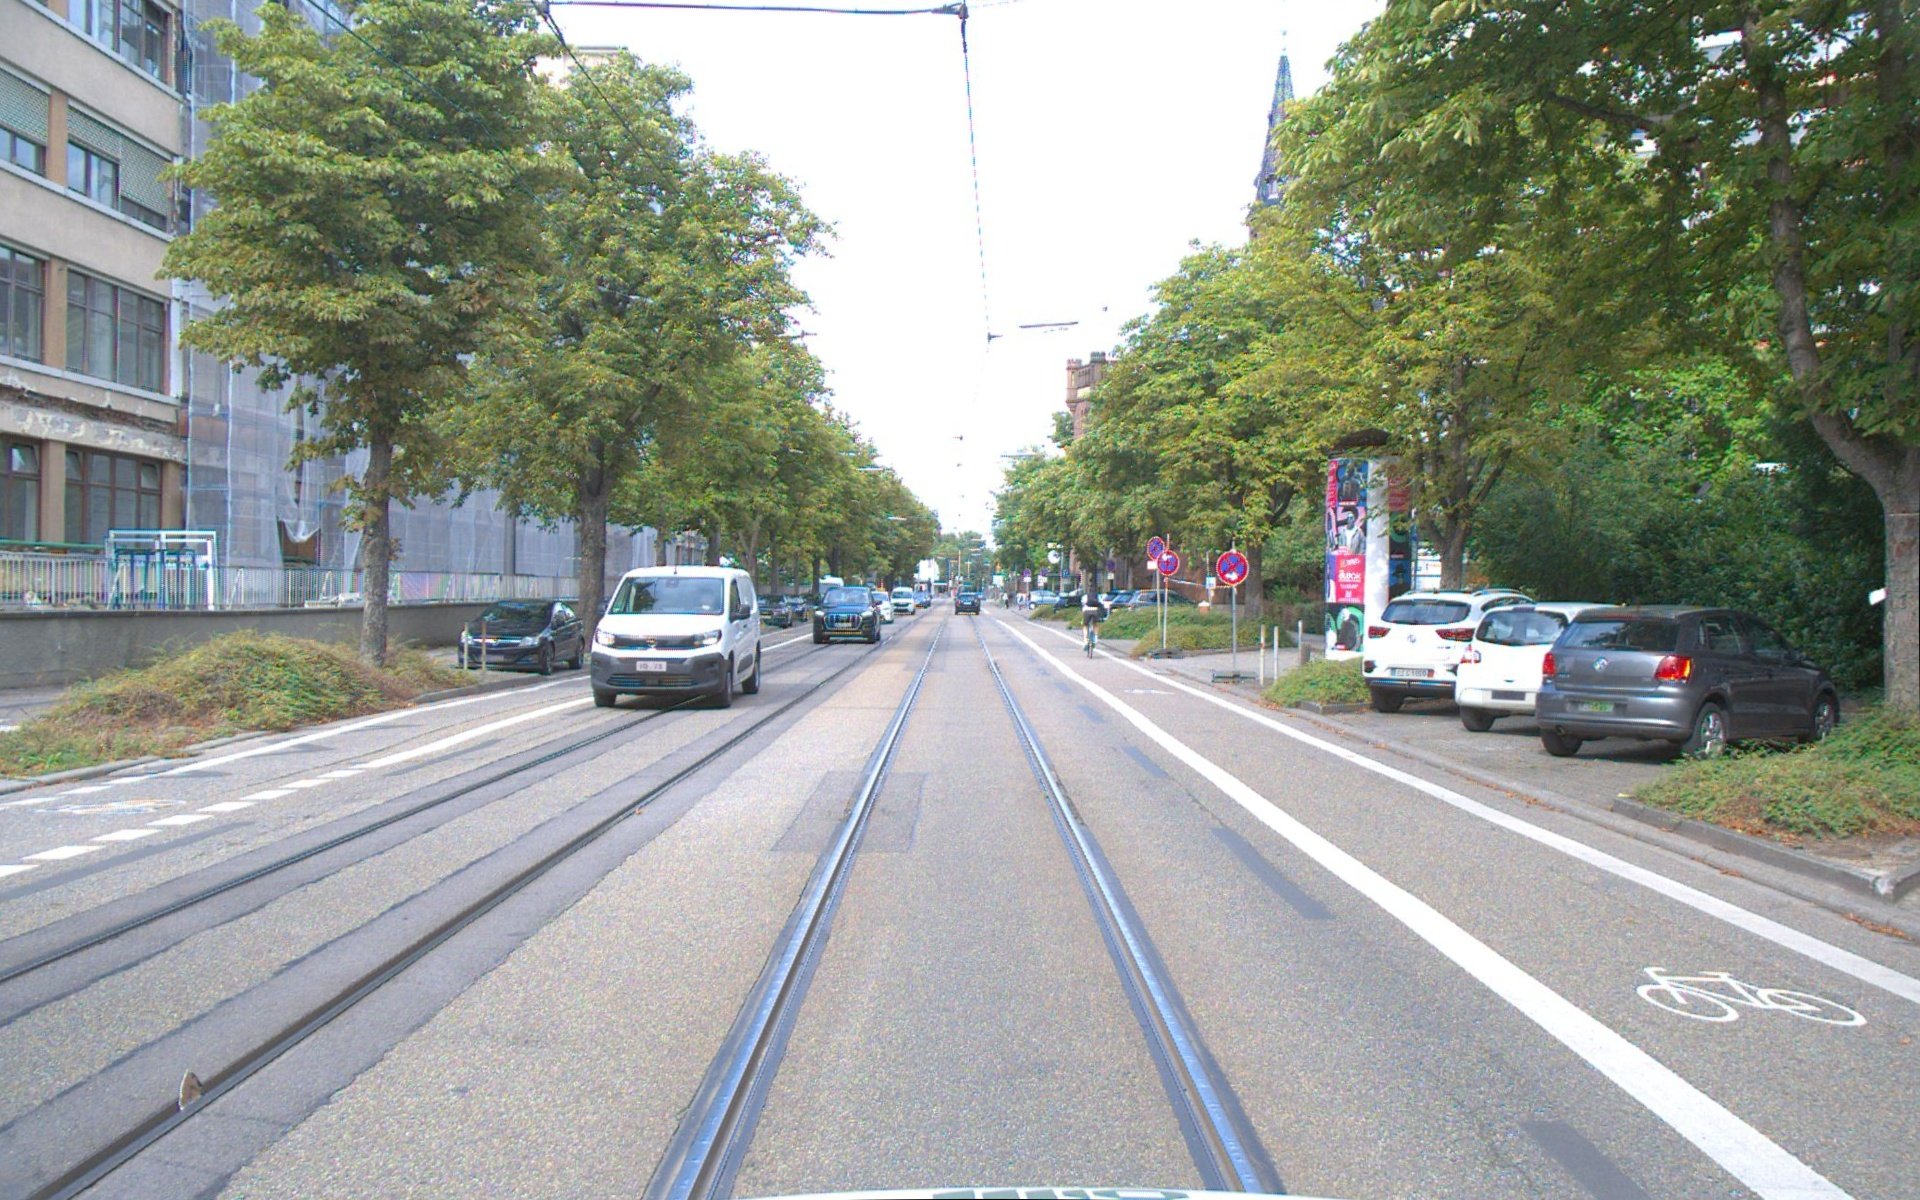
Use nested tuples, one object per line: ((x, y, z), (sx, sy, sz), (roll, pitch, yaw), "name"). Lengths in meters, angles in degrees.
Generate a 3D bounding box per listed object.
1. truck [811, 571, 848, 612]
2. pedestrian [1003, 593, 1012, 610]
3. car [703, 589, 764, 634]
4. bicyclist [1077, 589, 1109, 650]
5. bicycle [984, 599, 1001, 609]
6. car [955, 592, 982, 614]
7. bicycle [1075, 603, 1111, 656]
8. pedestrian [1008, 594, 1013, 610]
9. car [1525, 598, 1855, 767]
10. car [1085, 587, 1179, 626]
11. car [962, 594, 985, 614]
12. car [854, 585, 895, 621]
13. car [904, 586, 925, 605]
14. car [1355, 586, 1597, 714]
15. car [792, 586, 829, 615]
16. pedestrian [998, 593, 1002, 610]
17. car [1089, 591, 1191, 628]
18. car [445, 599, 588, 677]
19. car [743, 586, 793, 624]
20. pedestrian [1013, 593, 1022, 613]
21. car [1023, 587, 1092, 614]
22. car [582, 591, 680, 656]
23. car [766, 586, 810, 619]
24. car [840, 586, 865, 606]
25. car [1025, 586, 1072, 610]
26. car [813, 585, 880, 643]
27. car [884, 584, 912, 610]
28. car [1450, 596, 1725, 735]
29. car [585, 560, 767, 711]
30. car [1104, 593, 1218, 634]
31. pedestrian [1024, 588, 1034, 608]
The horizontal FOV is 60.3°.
((-8.357, -0.540, 105.987), (2.029, 2.513, 4.898), (0, 0, -1), "truck")
((4.788, 0.129, 166.833), (0.711, 1.674, 0.767), (2, 0, 10), "pedestrian")
((-8.503, 0.411, 62.351), (1.766, 1.611, 4.030), (0, 0, -1), "car")
((3.326, 0.476, 41.389), (0.644, 1.489, 1.178), (1, 0, -1), "bicyclist")
((3.269, 0.411, 167.231), (1.684, 1.009, 0.659), (2, 0, 8), "bicycle")
((0.578, 0.189, 114.918), (1.757, 1.448, 3.999), (1, 0, -1), "car")
((3.315, 0.720, 41.398), (0.644, 1.270, 2.124), (2, 0, -1), "bicycle")
((6.276, 0.227, 206.445), (0.507, 2.049, 0.480), (1, 0, 3), "pedestrian")
((7.278, 0.743, 16.382), (3.501, 1.468, 1.601), (1, 0, -39), "car")
((7.607, 0.270, 73.452), (3.907, 1.656, 1.884), (1, 0, -3), "car")
((1.122, 0.313, 137.113), (1.757, 1.495, 4.000), (2, 0, 1), "car")
((-4.004, 0.121, 77.900), (1.766, 1.650, 4.484), (0, 0, -1), "car")
((-4.090, -0.440, 149.493), (1.766, 1.650, 4.484), (0, 0, -1), "car")
((7.065, 0.644, 22.531), (3.414, 1.600, 1.538), (1, 0, -39), "car")
((-8.358, 0.010, 92.953), (1.766, 1.611, 4.030), (0, 0, -1), "car")
((4.931, 0.209, 204.180), (0.507, 2.049, 0.480), (1, 0, 3), "pedestrian")
((7.387, 0.384, 68.047), (3.907, 1.449, 1.884), (1, 0, -3), "car")
((-8.588, 0.695, 32.354), (1.766, 1.398, 4.030), (0, 0, -1), "car")
((-8.396, 0.195, 72.588), (1.766, 1.611, 4.030), (0, 0, -1), "car")
((5.085, 0.267, 146.345), (0.711, 1.674, 0.767), (2, 0, 1), "pedestrian")
((5.825, 0.032, 99.072), (3.907, 1.534, 1.884), (1, 0, -3), "car")
((-8.436, 0.570, 42.747), (1.766, 1.611, 4.030), (0, 0, -1), "car")
((-8.443, 0.115, 81.547), (1.766, 1.611, 4.030), (0, 0, -1), "car")
((-8.566, -0.330, 131.723), (1.766, 1.611, 4.030), (0, 0, -1), "car")
((7.744, -0.192, 145.268), (3.907, 1.944, 1.999), (2, 0, -3), "car")
((-3.398, 0.394, 50.024), (1.766, 1.650, 4.484), (0, 0, -1), "car")
((-4.177, -0.212, 111.233), (1.766, 1.650, 4.484), (0, 0, -1), "car")
((7.415, 0.715, 19.434), (3.414, 1.468, 1.538), (1, 0, -39), "car")
((-3.782, 0.430, 22.755), (1.766, 1.855, 4.484), (0, 0, -1), "car")
((7.391, 0.486, 61.146), (3.907, 1.449, 1.884), (1, 0, -3), "car")
((5.721, -0.189, 137.280), (0.711, 1.674, 0.767), (2, 0, 1), "pedestrian")
